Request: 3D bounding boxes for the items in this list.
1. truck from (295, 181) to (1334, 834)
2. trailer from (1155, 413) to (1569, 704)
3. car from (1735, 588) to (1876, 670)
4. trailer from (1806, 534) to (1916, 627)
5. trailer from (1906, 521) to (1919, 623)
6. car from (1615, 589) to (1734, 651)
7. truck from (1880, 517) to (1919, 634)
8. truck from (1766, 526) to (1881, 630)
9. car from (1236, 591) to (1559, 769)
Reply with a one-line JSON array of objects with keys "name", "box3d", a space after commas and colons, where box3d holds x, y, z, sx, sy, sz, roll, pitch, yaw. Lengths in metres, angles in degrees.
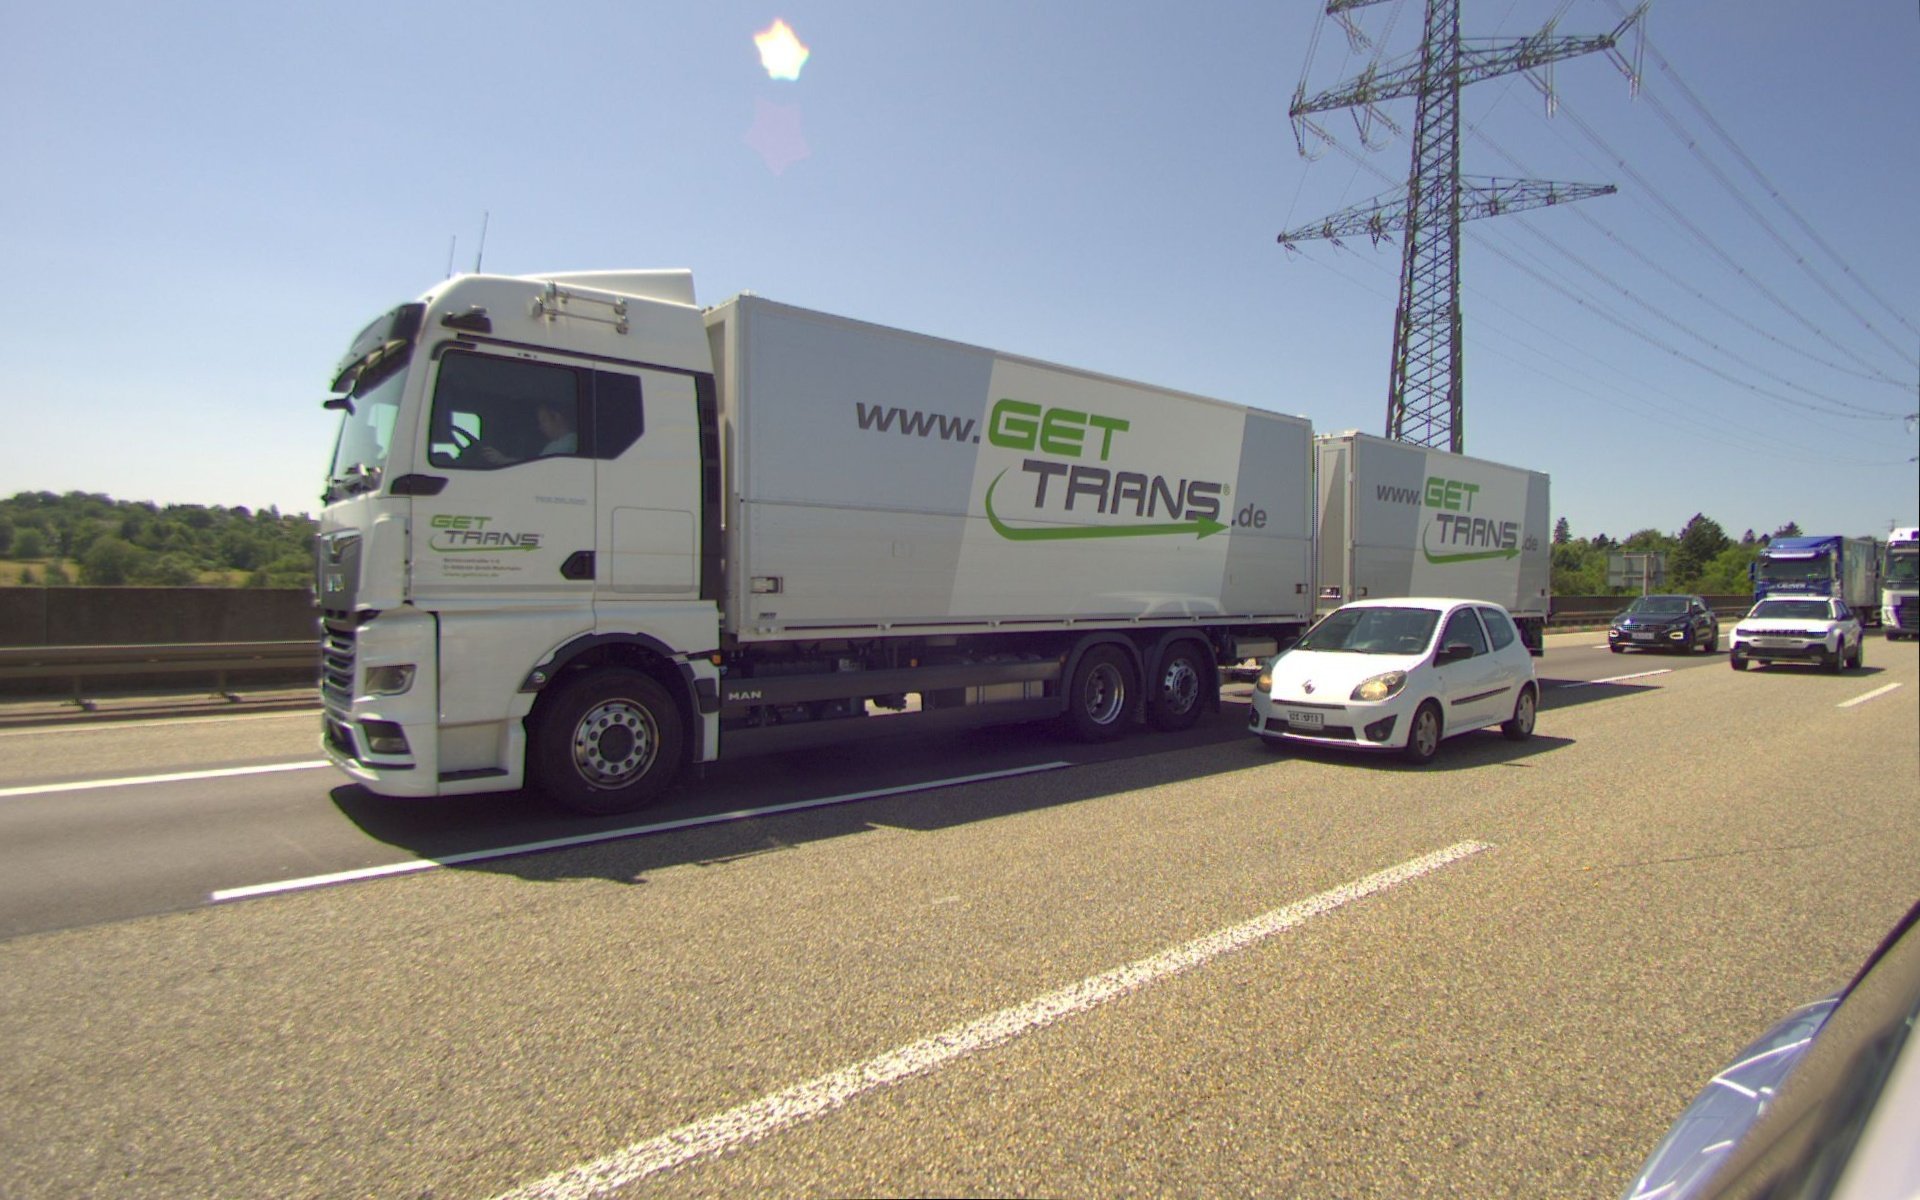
[{"name": "truck", "box3d": [-0.234, -0.538, 10.229, 10.581, 3.648, 2.855, 0, 0, -41]}, {"name": "trailer", "box3d": [6.845, -0.548, 16.420, 8.146, 3.640, 2.849, 0, 0, -41]}, {"name": "car", "box3d": [17.651, 0.542, 21.079, 3.688, 1.554, 1.720, 0, 1, -41]}, {"name": "trailer", "box3d": [43.365, -0.927, 48.555, 10.695, 4.044, 2.541, -1, 0, -41]}, {"name": "trailer", "box3d": [41.192, -1.166, 41.212, 9.605, 3.918, 2.895, -1, 0, -41]}, {"name": "car", "box3d": [18.966, 0.468, 26.807, 3.820, 1.524, 1.708, 0, 1, -41]}, {"name": "truck", "box3d": [35.095, -0.888, 35.871, 6.624, 3.941, 2.911, -1, 0, -41]}, {"name": "truck", "box3d": [36.371, -0.885, 42.521, 7.788, 4.018, 2.515, 0, 0, -41]}, {"name": "car", "box3d": [4.473, 0.649, 10.145, 3.566, 1.458, 1.583, 0, 1, -41]}]
